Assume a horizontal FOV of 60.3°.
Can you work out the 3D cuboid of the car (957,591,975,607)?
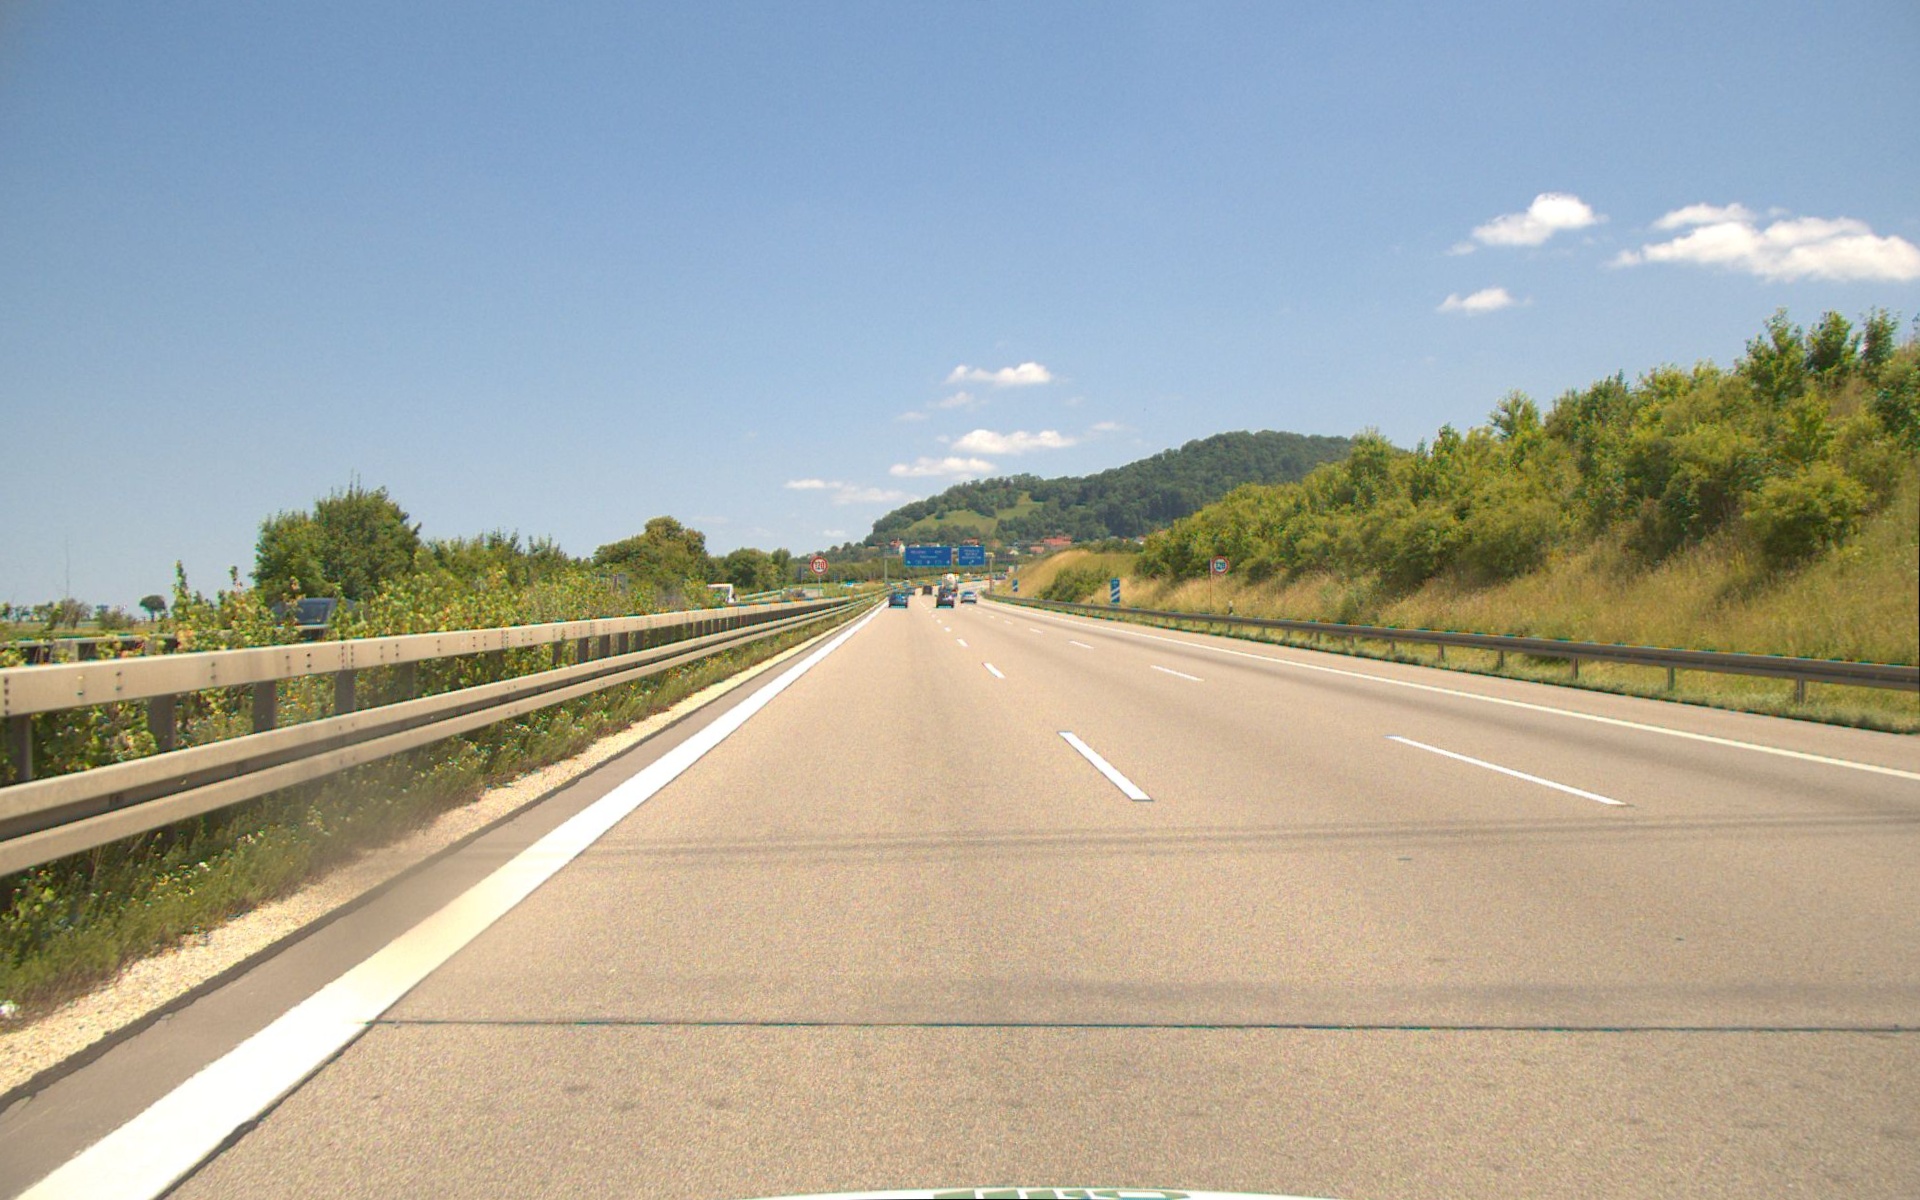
[{"bbox_3d":[0.739,-0.110,192.966,1.953,1.850,3.999,-1,0,-1],"label":"car"}]

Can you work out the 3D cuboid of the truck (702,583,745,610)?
[{"bbox_3d":[-17.355,-0.255,121.516,2.379,1.869,5.725,1,0,-1],"label":"truck"}]

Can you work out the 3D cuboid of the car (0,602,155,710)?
[{"bbox_3d":[-15.945,0.921,28.895,1.786,1.723,3.999,1,0,-1],"label":"car"}]

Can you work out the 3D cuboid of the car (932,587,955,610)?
[{"bbox_3d":[-1.493,-0.106,149.104,1.953,2.049,3.999,1,0,-1],"label":"car"}]

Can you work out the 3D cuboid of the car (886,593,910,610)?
[{"bbox_3d":[-5.375,0.162,143.090,1.953,1.413,3.999,1,0,-1],"label":"car"}]
